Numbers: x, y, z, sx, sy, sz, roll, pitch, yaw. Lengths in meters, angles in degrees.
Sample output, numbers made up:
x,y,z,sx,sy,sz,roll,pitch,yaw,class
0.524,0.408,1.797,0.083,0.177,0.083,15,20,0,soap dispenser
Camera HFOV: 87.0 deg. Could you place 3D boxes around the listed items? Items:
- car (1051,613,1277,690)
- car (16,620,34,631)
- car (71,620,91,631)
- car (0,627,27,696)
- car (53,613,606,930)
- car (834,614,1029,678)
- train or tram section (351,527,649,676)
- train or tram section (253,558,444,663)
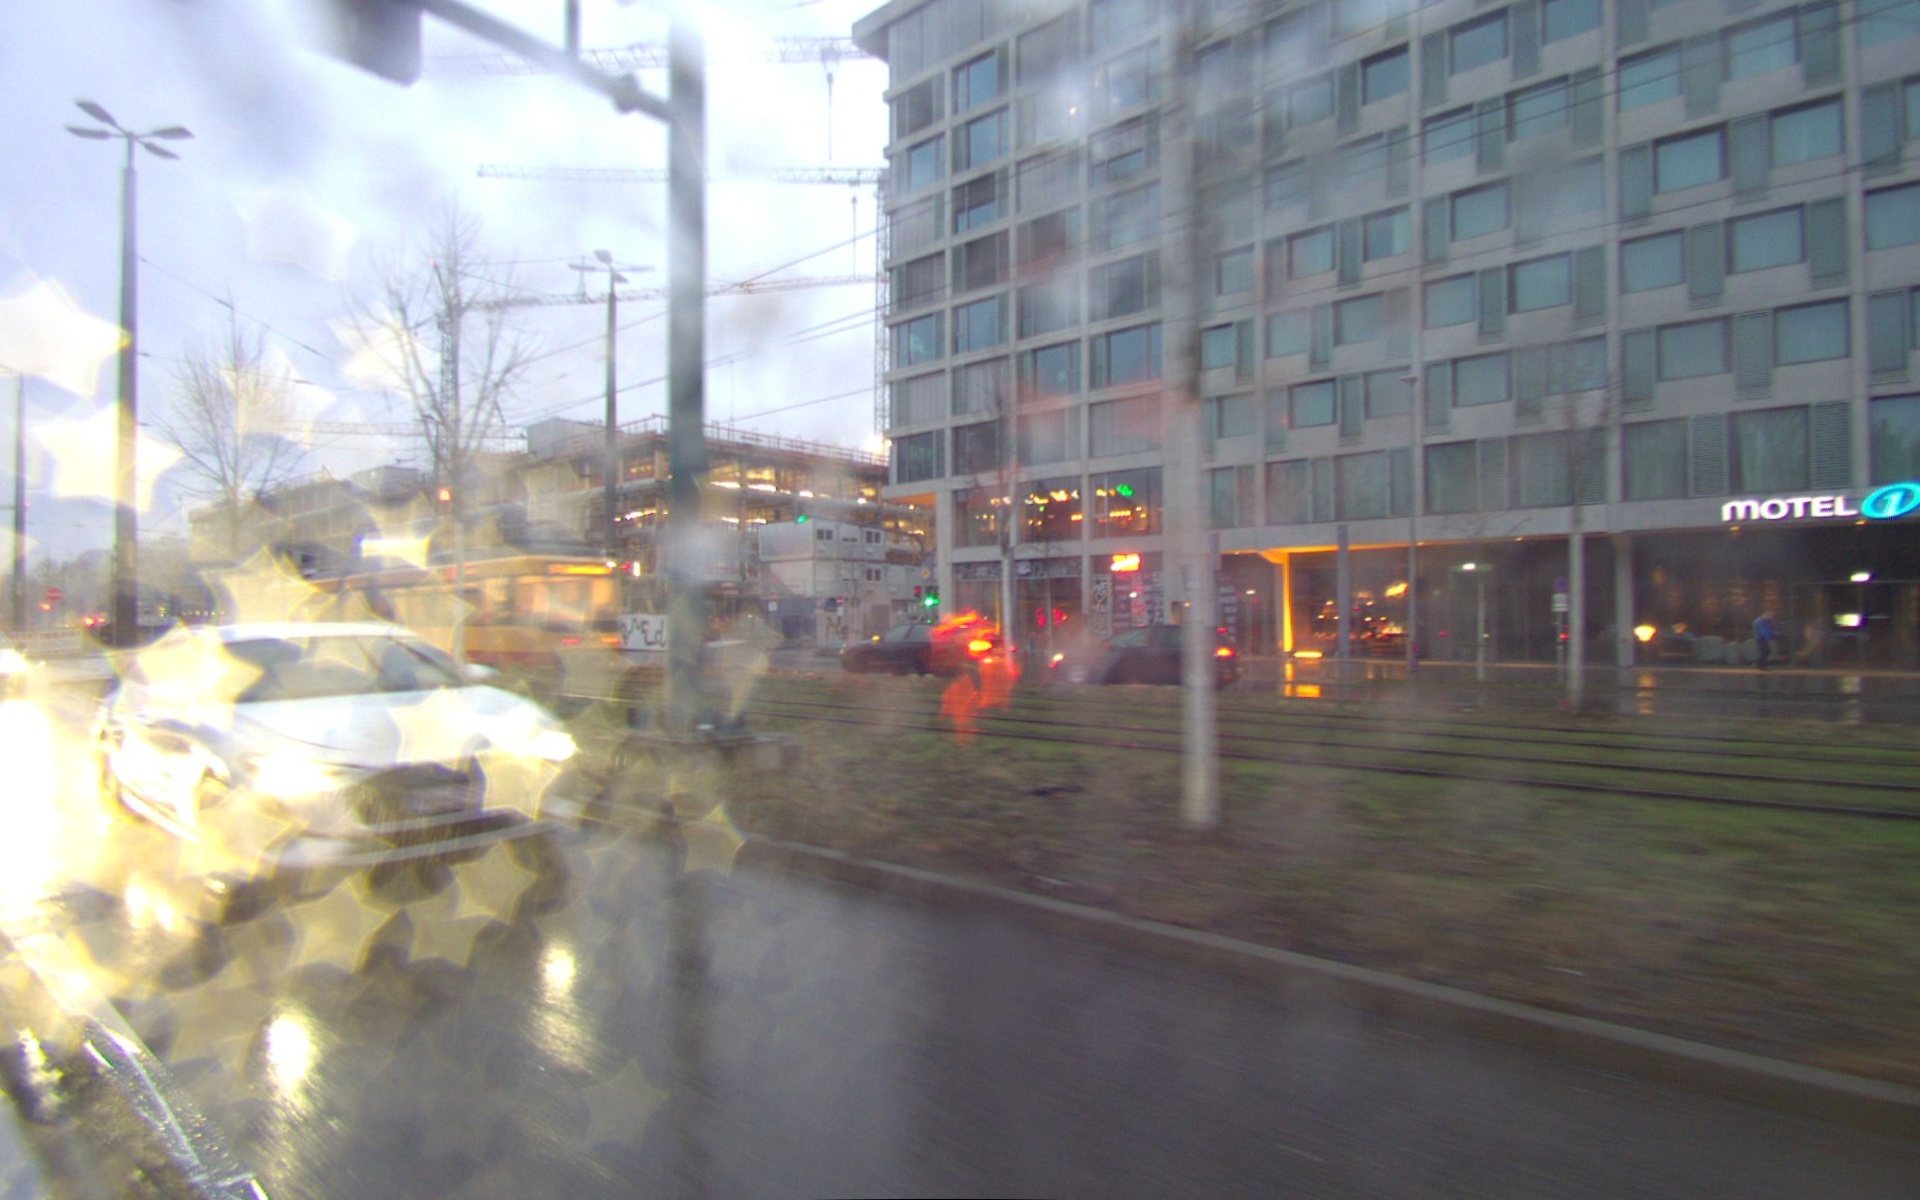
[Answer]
x,y,z,sx,sy,sz,roll,pitch,yaw,class
4.381,1.069,21.776,4.425,1.508,1.983,-1,-2,26,car
-168.415,4.592,182.274,3.998,2.029,1.972,-2,-2,41,car
-145.352,4.233,167.368,3.998,1.837,1.973,-2,-2,41,car
-21.329,1.289,21.507,3.978,1.381,1.745,-1,0,40,car
-4.471,0.827,6.836,4.610,1.416,1.828,-1,0,40,car
-0.827,1.127,25.913,5.032,1.479,1.972,-2,-2,42,car
-14.126,0.211,29.837,14.268,3.513,2.924,-2,-2,44,train or tram section
-24.427,0.527,39.804,14.323,3.513,2.924,-2,-2,44,train or tram section
